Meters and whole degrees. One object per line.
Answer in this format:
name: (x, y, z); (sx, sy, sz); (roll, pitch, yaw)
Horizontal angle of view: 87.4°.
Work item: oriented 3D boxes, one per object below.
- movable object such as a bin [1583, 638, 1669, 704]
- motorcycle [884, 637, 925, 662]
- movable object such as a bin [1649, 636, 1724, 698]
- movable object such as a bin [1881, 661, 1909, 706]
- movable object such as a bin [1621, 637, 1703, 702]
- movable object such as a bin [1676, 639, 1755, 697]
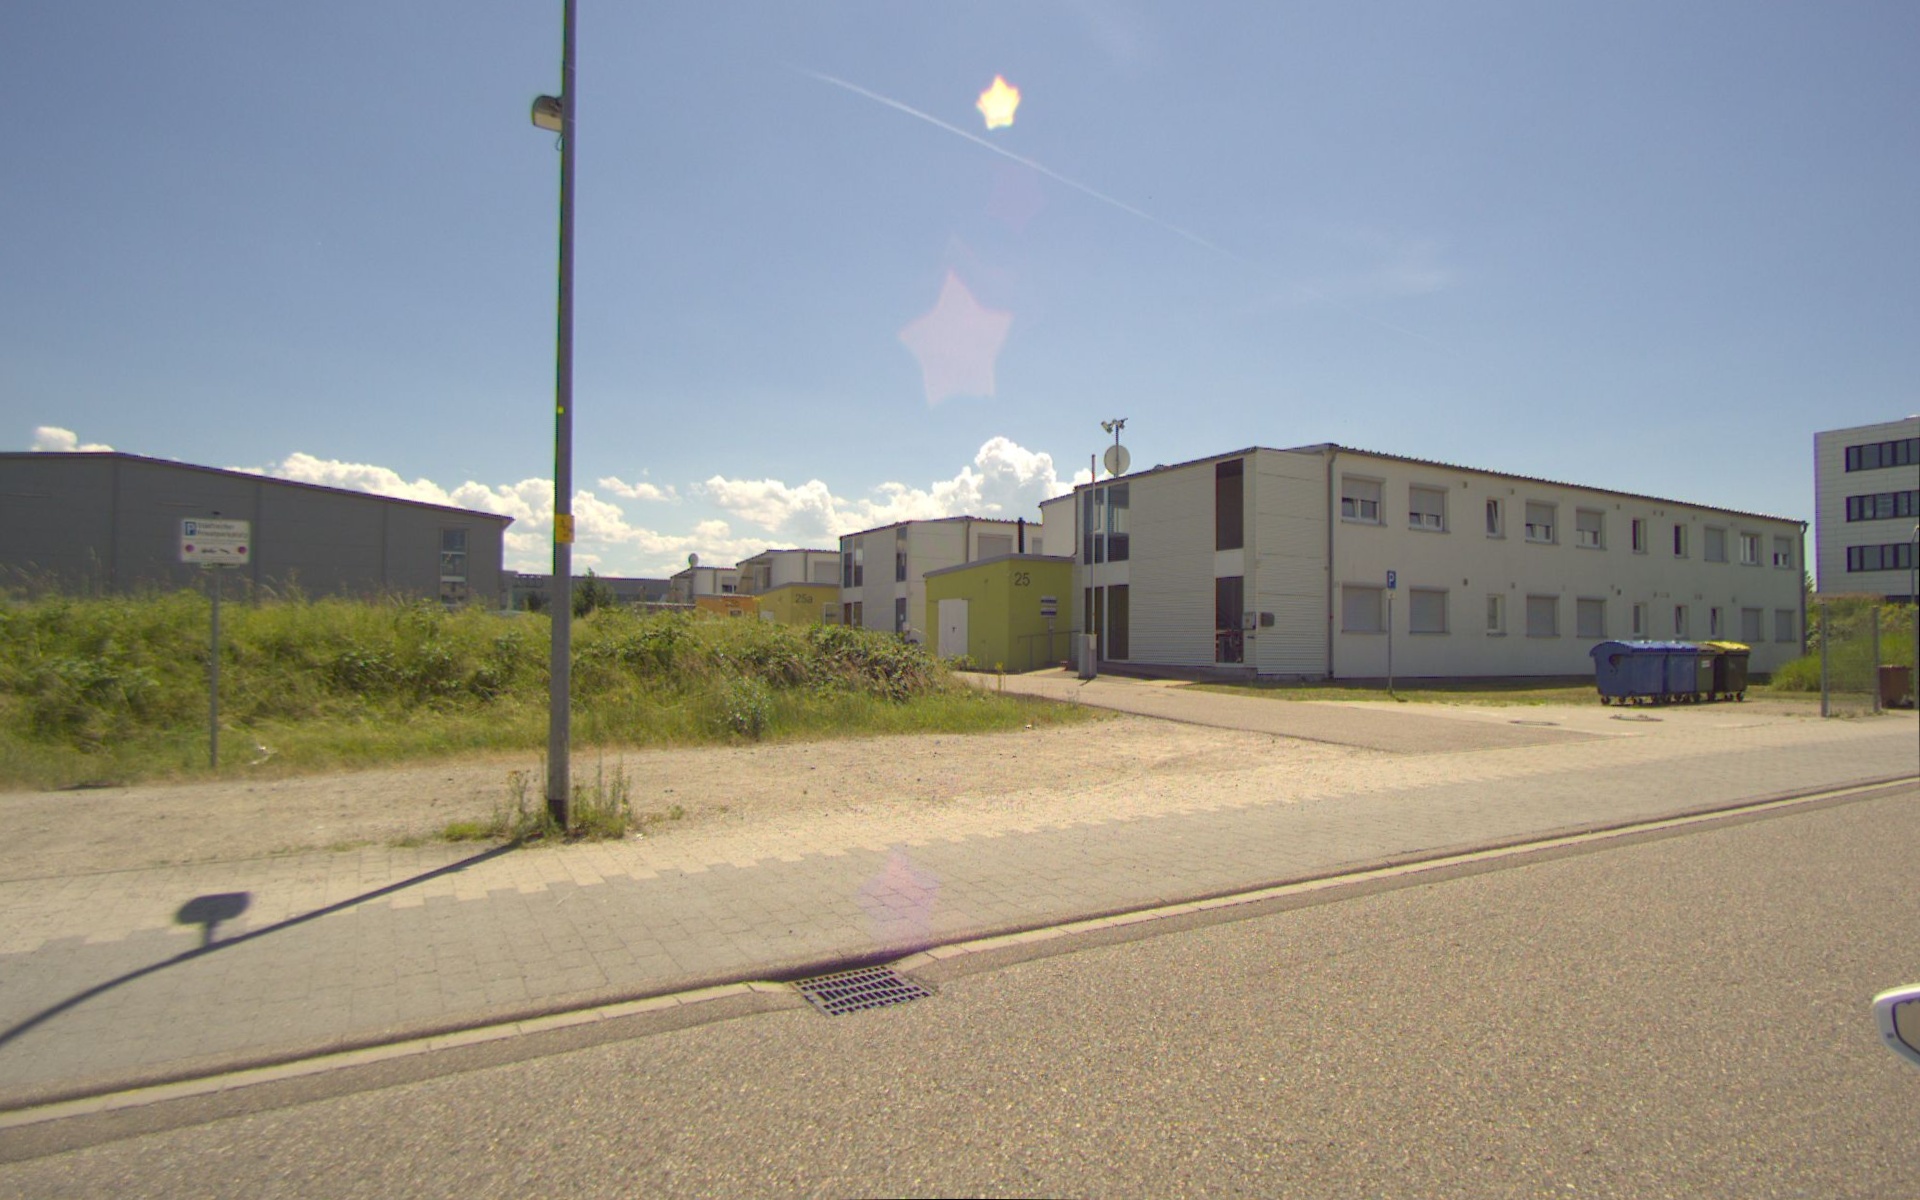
movable object such as a bin: (15.480, 1.627, 23.344); (1.416, 1.467, 1.139); (2, -2, -28)
motorcycle: (-2.223, 1.996, 40.491); (1.601, 0.977, 0.369); (2, 0, -8)
movable object such as a bin: (17.988, 1.644, 24.881); (1.373, 1.467, 1.082); (2, -2, -31)
movable object such as a bin: (20.340, 1.811, 21.848); (0.490, 0.952, 0.303); (2, -2, -28)
movable object such as a bin: (16.817, 1.652, 24.060); (1.354, 1.467, 1.120); (2, -2, -27)
movable object such as a bin: (19.223, 1.716, 25.572); (1.370, 1.423, 1.138); (2, -2, -28)
